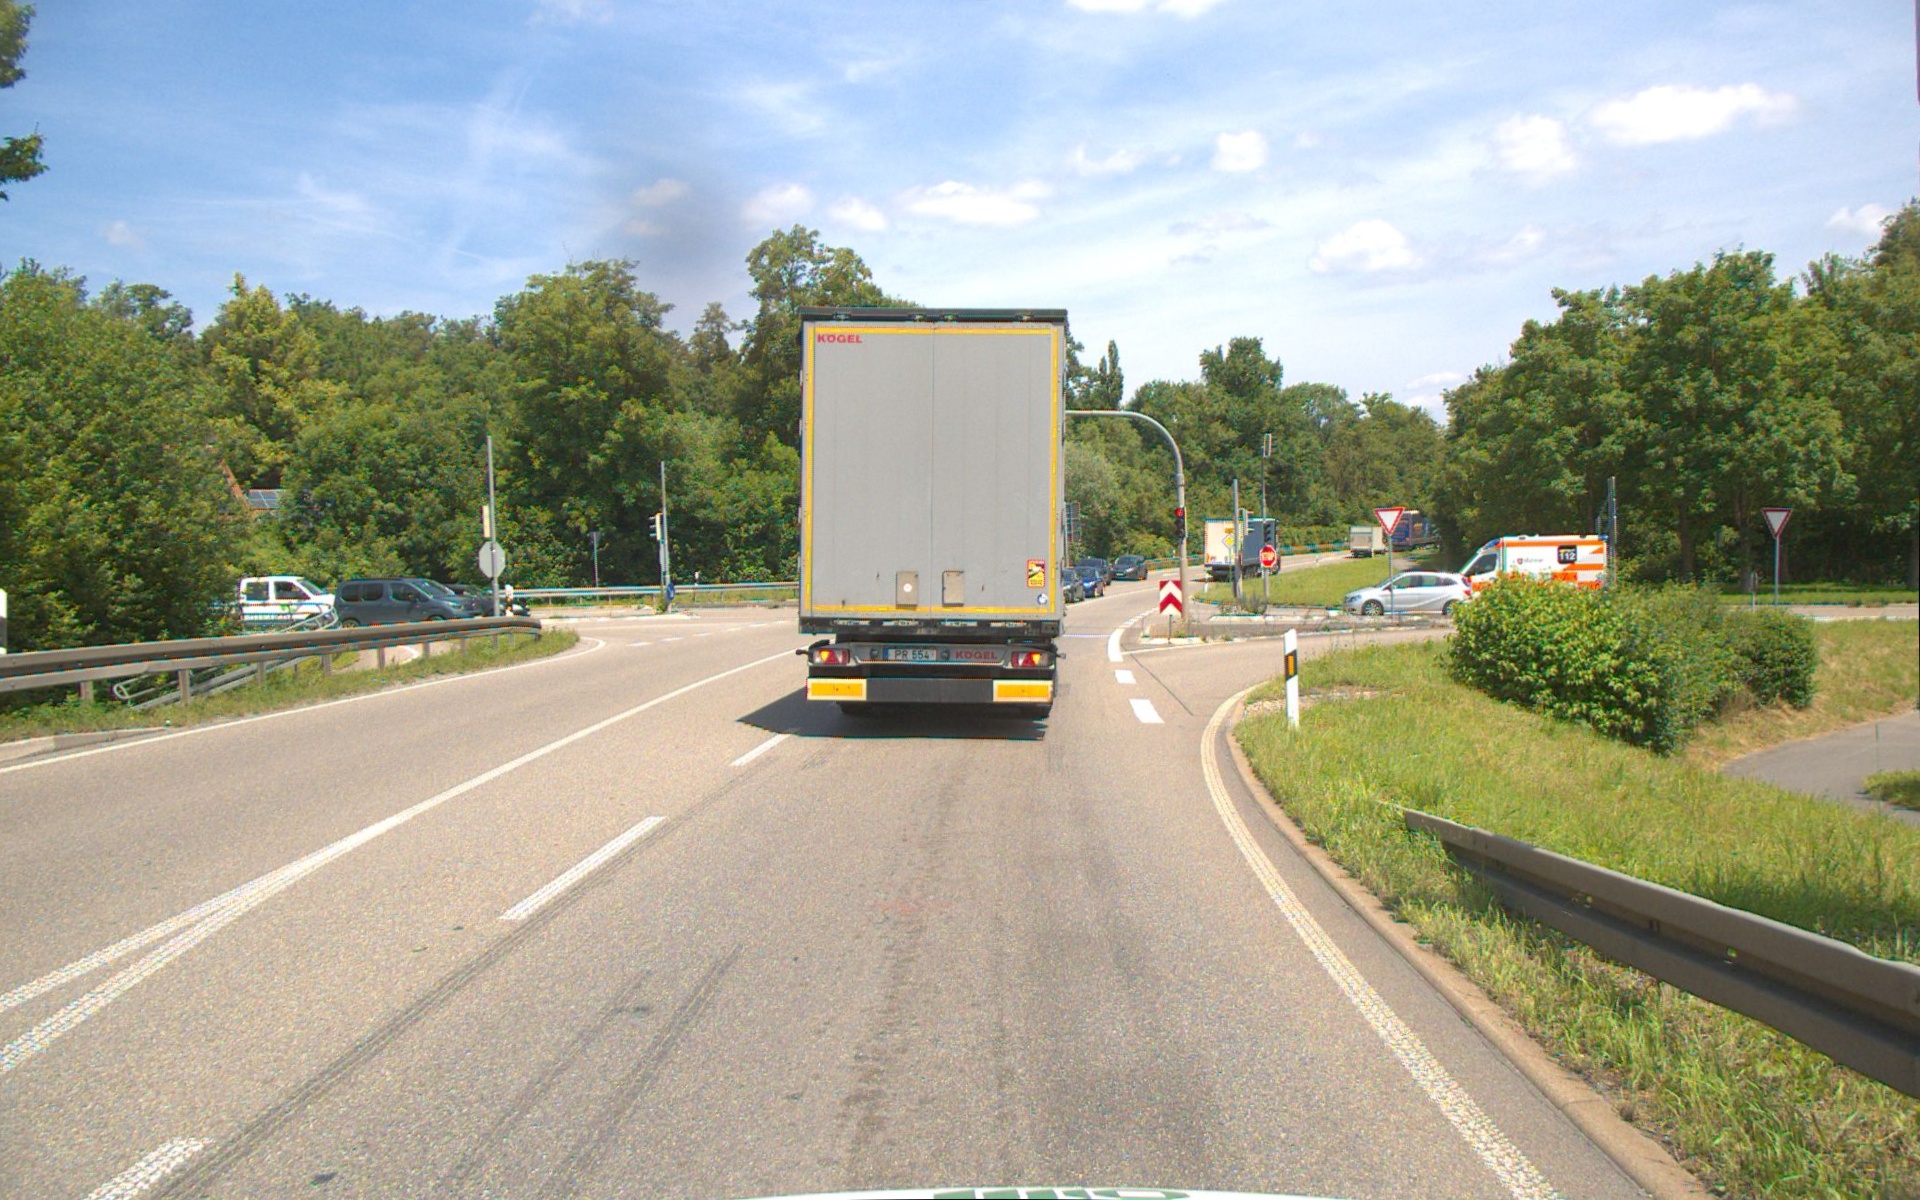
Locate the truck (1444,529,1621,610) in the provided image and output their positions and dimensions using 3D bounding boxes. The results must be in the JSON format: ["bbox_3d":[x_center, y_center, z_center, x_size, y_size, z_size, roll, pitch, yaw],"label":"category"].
[{"bbox_3d":[20.592,-1.078,59.483,5.888,2.775,2.501,1,-1,22],"label":"truck"}]

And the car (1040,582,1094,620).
[{"bbox_3d":[4.713,0.062,72.225,1.951,1.517,4.261,1,-1,9],"label":"car"}]

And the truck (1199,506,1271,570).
[{"bbox_3d":[18.765,-4.174,112.189,3.112,4.098,11.752,1,2,18],"label":"truck"}]

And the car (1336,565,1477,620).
[{"bbox_3d":[15.049,-0.230,55.926,4.334,1.748,2.001,1,-1,7],"label":"car"}]

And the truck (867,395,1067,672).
[{"bbox_3d":[0.227,-1.071,27.916,2.975,4.104,6.632,0,1,2],"label":"truck"}]

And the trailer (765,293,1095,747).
[{"bbox_3d":[-0.030,-0.881,21.285,2.988,4.104,12.564,0,1,2],"label":"trailer"}]

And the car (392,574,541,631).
[{"bbox_3d":[-15.882,0.075,53.314,4.143,1.801,2.002,0,0,12],"label":"car"}]

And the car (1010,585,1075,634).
[{"bbox_3d":[3.231,0.402,64.169,1.951,1.816,4.946,1,-1,9],"label":"car"}]

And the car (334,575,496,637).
[{"bbox_3d":[-16.183,0.177,49.188,4.143,1.801,2.002,0,0,12],"label":"car"}]

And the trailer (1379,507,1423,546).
[{"bbox_3d":[46.264,-7.624,173.382,3.186,3.749,9.248,0,1,23],"label":"trailer"}]

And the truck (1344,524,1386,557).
[{"bbox_3d":[38.916,-5.676,158.789,2.798,2.999,7.102,0,1,23],"label":"truck"}]

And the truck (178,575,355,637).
[{"bbox_3d":[-21.964,0.214,52.581,4.787,1.823,2.038,1,-1,-11],"label":"truck"}]
